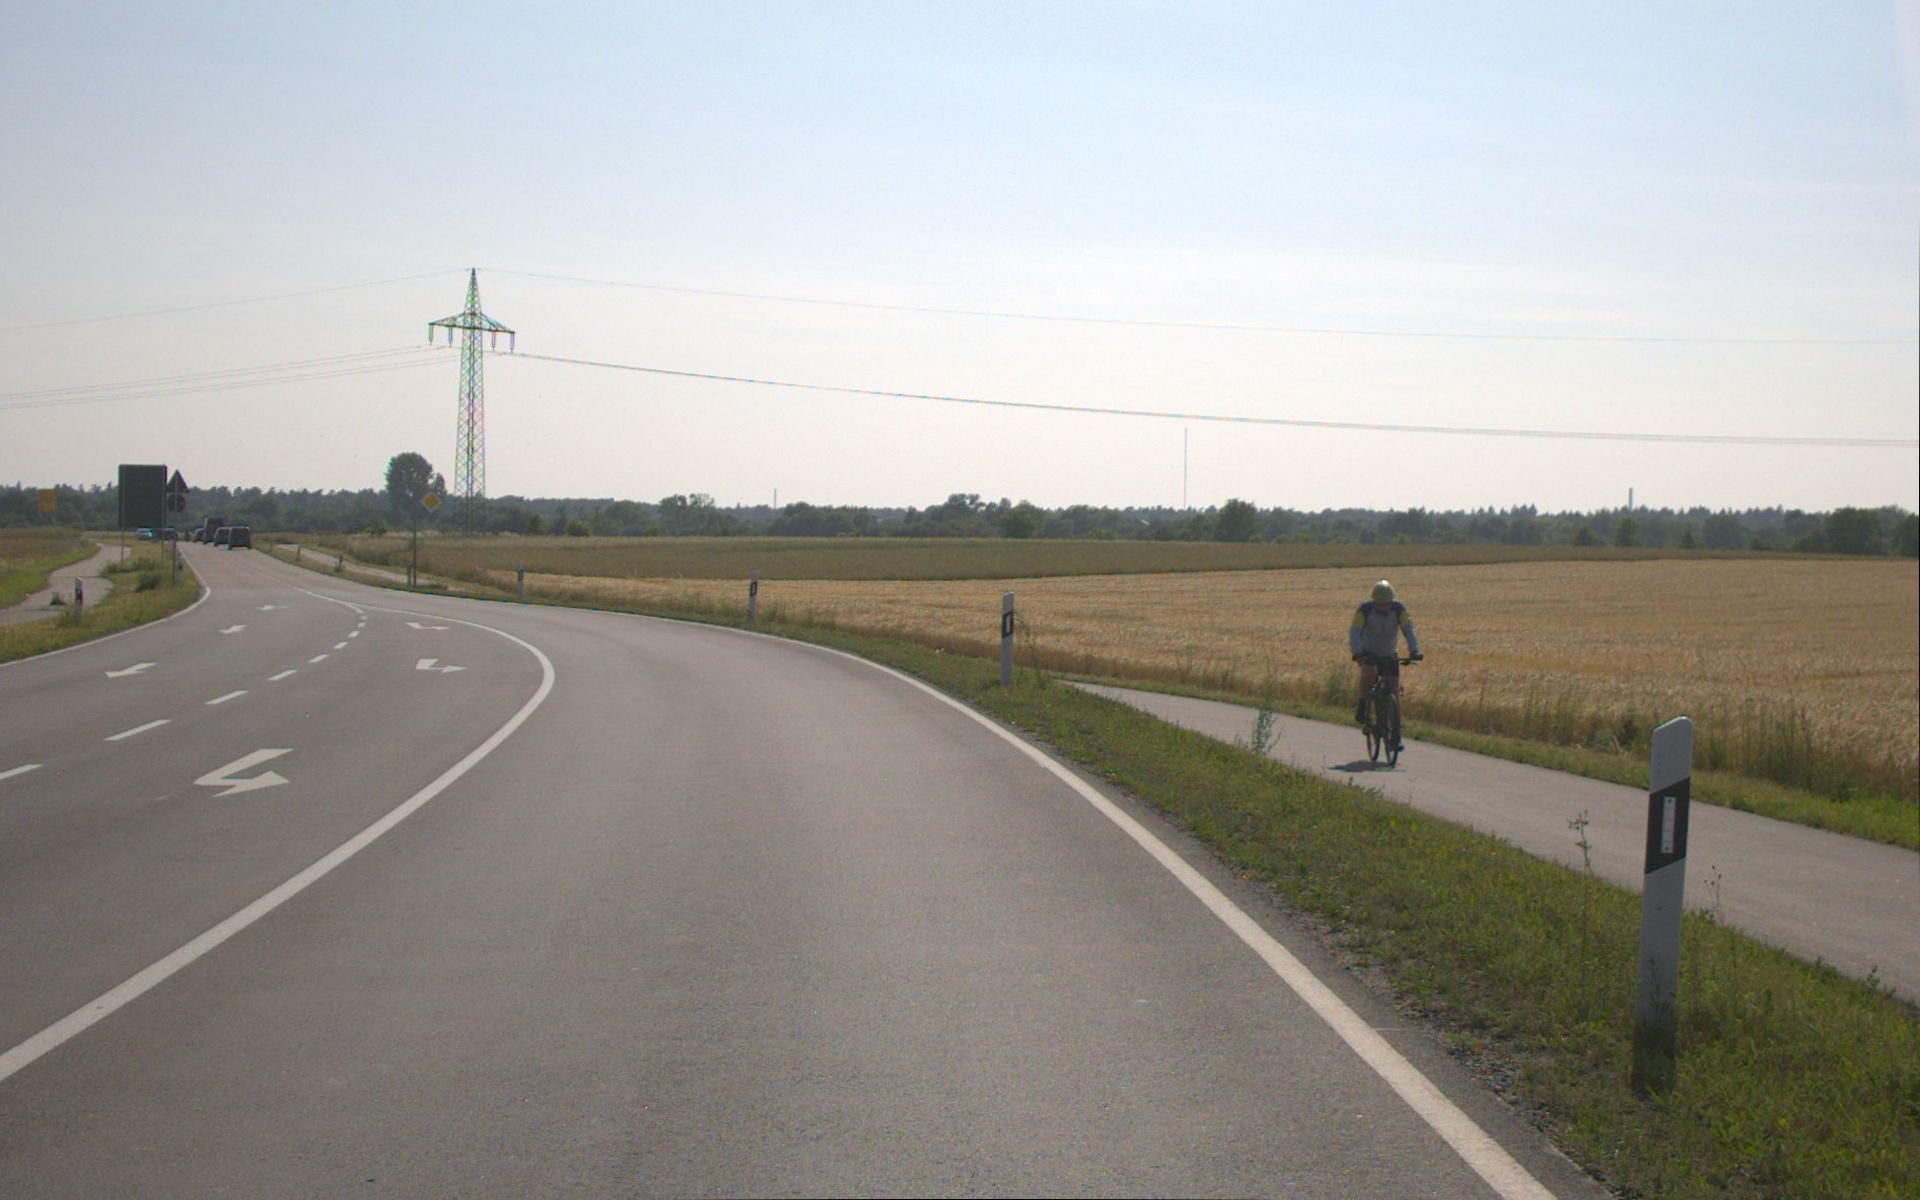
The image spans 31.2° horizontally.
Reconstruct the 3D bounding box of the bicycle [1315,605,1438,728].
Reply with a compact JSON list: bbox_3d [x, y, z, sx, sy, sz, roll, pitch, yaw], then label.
[{"bbox_3d":[4.161,0.647,34.511,0.845,1.138,2.207,3,0,-2],"label":"bicycle"}]

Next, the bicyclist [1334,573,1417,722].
[{"bbox_3d":[4.178,0.466,34.615,0.637,1.452,0.817,3,0,-2],"label":"bicyclist"}]
